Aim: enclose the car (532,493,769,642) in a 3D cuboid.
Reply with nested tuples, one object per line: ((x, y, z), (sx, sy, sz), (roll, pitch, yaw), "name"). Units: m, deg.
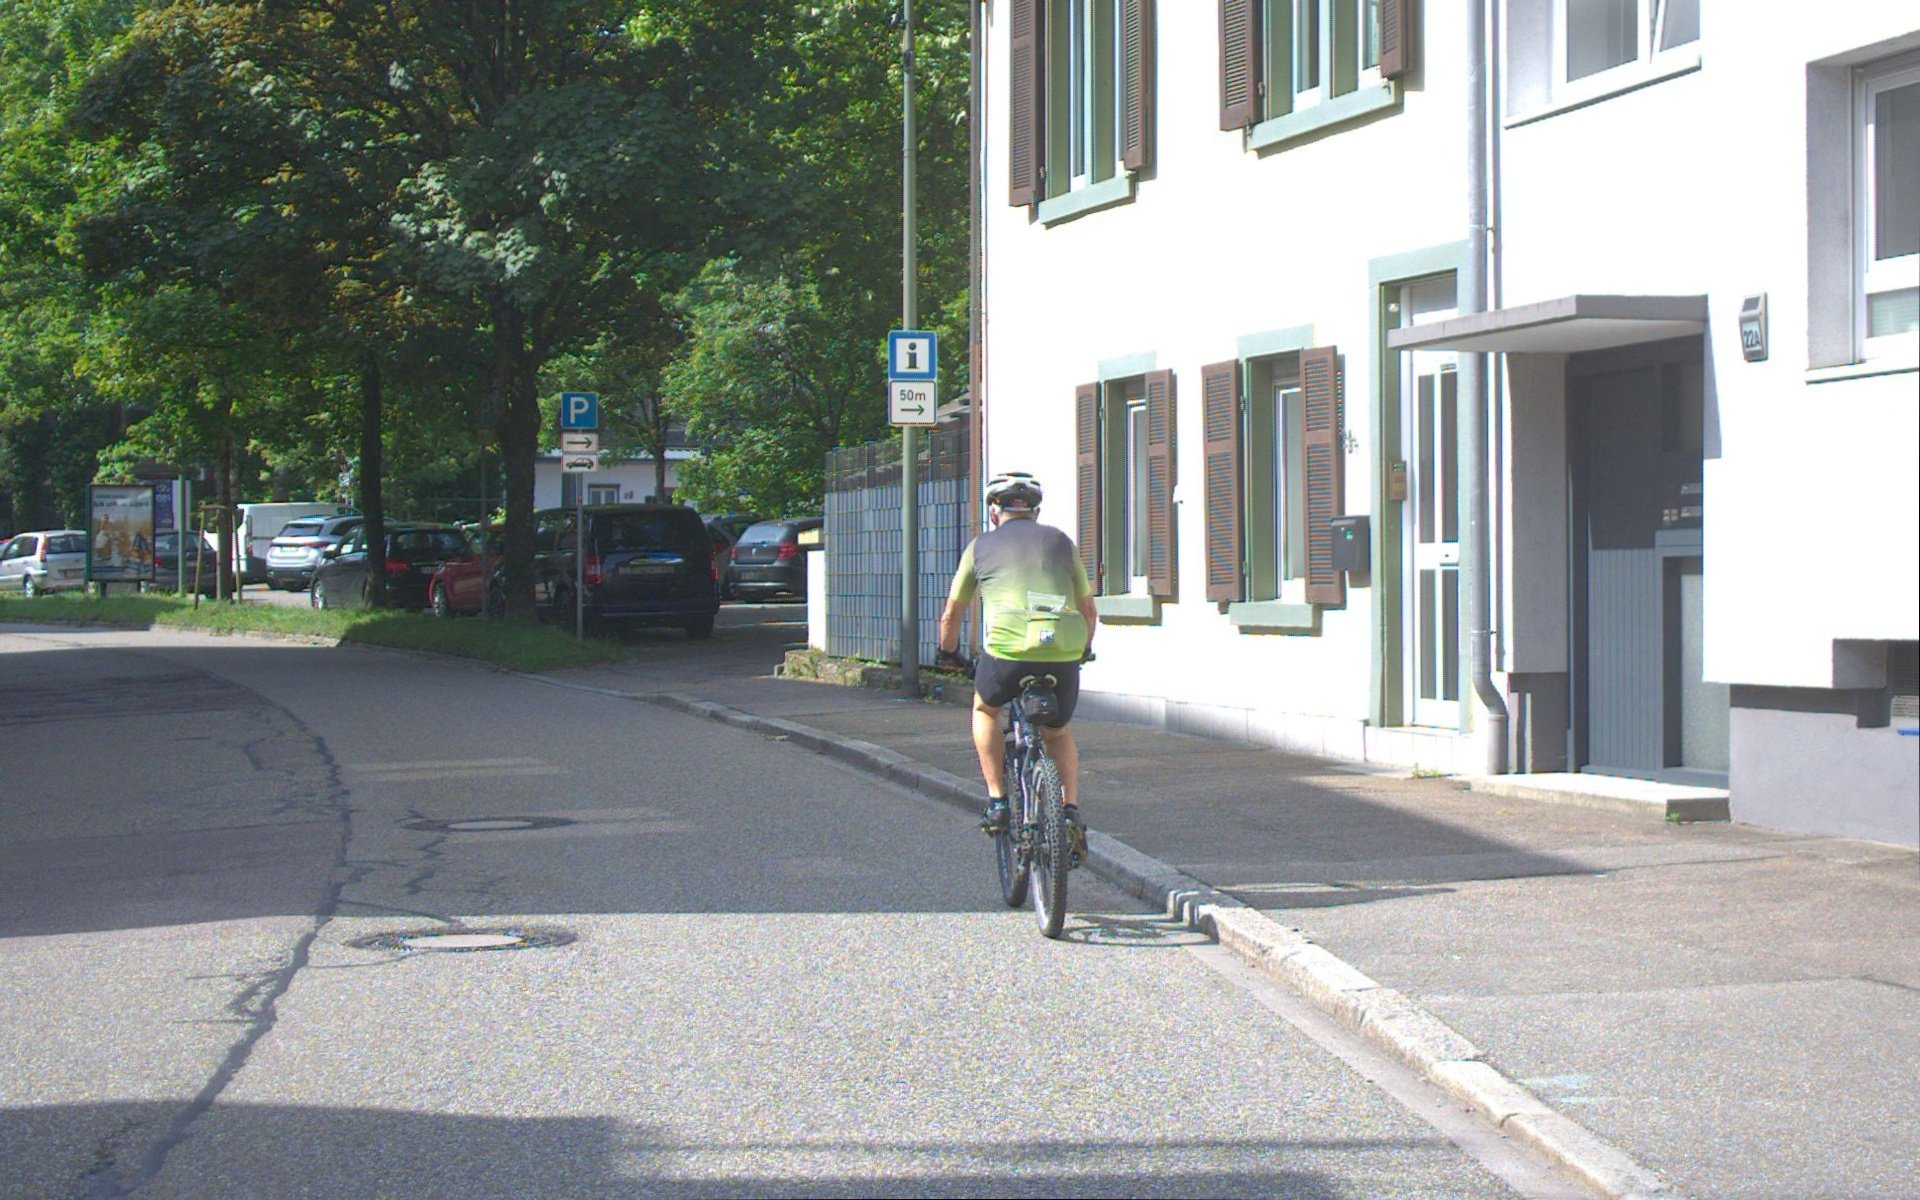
((-4.057, -0.469, 44.467), (1.822, 1.785, 4.001), (-2, 3, -24), "car")

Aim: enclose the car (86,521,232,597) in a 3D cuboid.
((-16.035, -0.830, 68.728), (1.673, 1.463, 3.409), (-1, 1, -35), "car")

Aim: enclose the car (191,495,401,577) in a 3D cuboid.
((-15.358, -1.486, 79.757), (1.998, 1.848, 4.691), (1, 1, 36), "car")

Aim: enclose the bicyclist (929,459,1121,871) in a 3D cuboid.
((0.240, 0.242, 13.185), (0.685, 1.526, 0.715), (-1, 0, -1), "bicyclist")

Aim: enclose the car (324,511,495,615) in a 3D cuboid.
((-8.918, -0.624, 55.477), (1.708, 1.537, 4.001), (-2, 3, -24), "car")

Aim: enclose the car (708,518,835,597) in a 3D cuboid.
((-3.212, -0.722, 58.081), (1.582, 1.253, 3.859), (-2, 1, -11), "car")

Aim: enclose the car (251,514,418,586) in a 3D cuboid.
((-13.780, -1.118, 75.945), (1.811, 1.546, 3.996), (0, 1, 21), "car")

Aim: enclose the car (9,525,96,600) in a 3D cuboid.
((-19.375, -0.814, 73.465), (1.743, 1.546, 3.754), (0, 1, -14), "car")

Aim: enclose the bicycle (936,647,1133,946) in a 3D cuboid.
((0.267, 0.730, 13.292), (0.698, 1.032, 1.471), (1, 1, 0), "bicycle")
